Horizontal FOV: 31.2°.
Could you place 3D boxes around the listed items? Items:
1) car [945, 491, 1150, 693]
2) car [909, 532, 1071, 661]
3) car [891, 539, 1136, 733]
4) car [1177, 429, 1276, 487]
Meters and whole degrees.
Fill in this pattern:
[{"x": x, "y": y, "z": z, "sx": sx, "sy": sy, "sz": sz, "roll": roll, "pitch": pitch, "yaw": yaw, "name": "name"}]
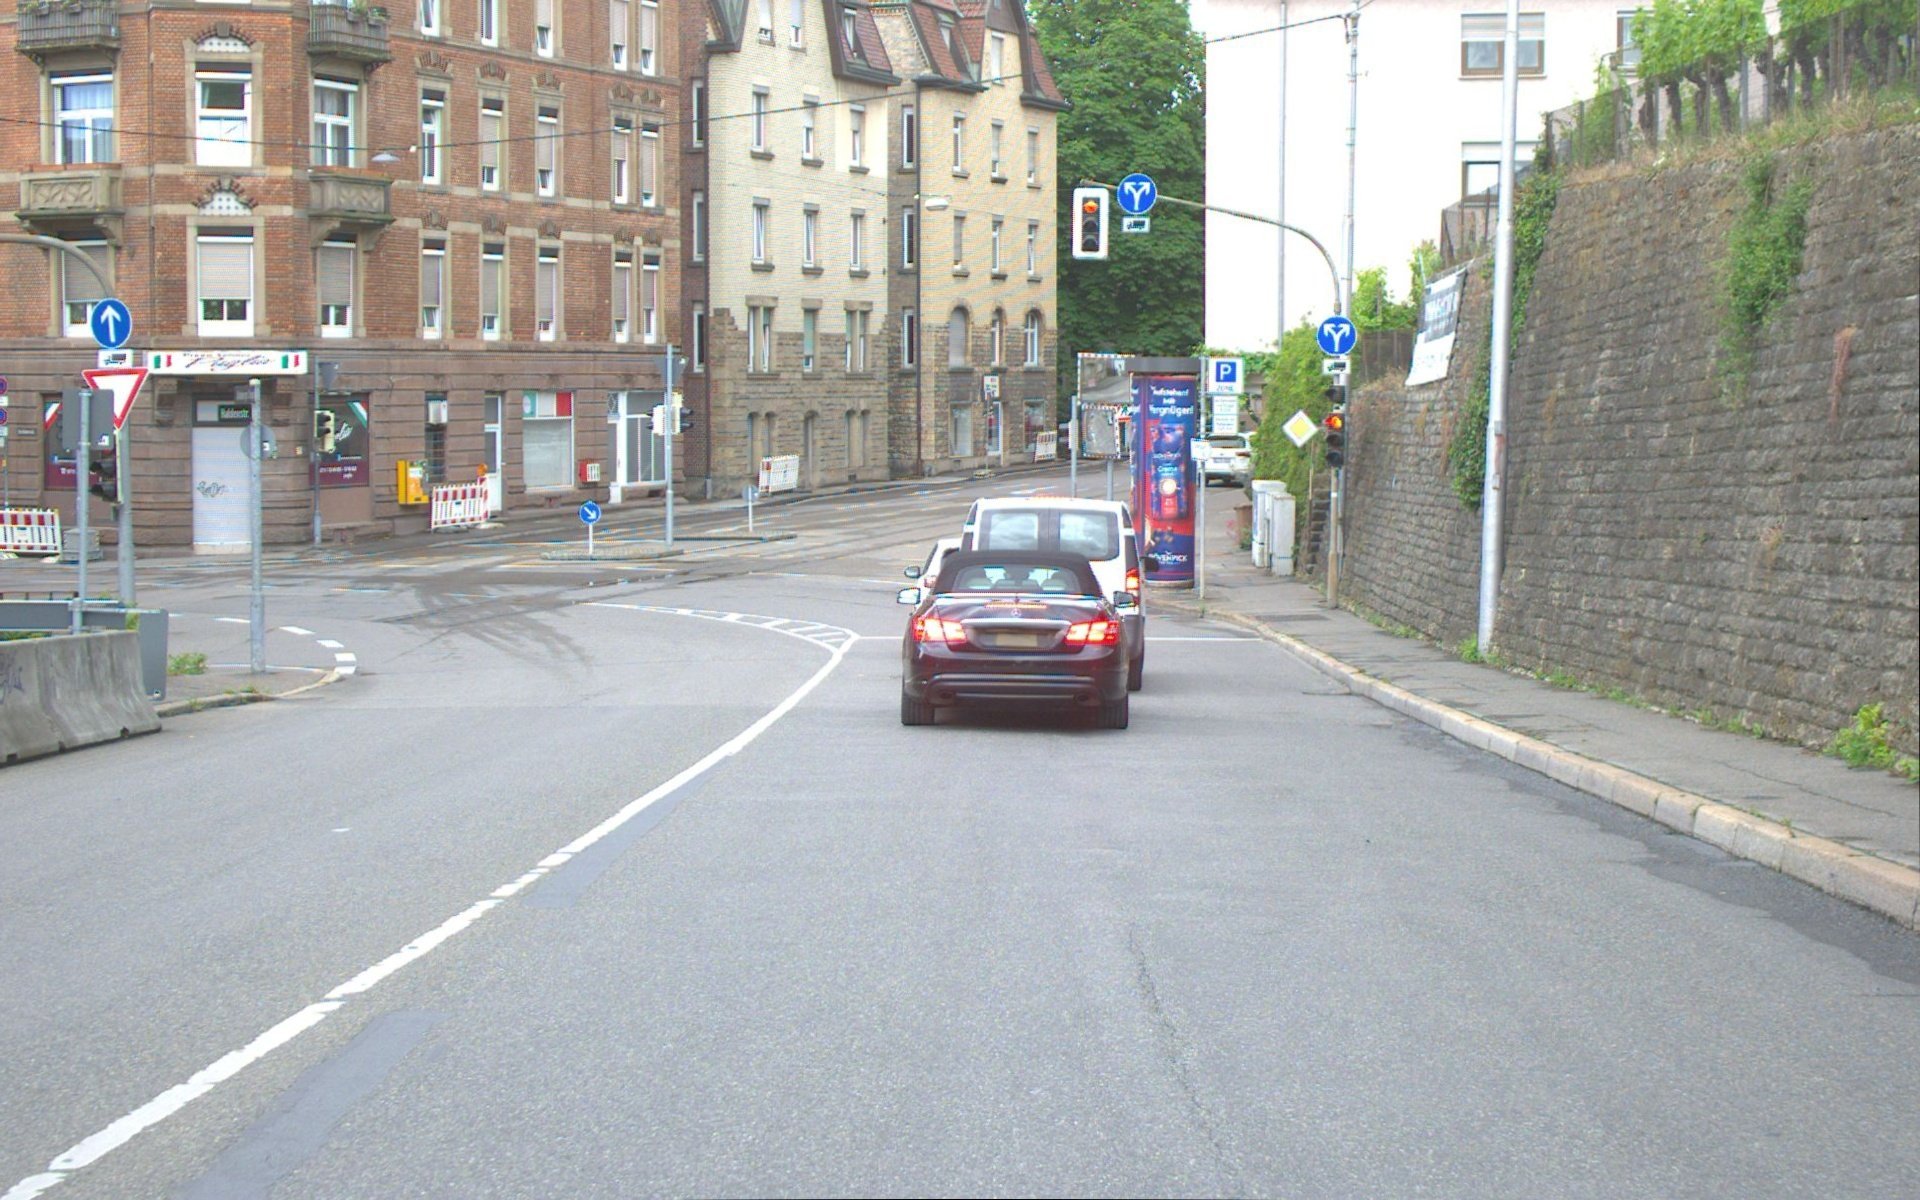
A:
[{"x": 0.841, "y": -0.124, "z": 34.807, "sx": 1.909, "sy": 1.877, "sz": 4.000, "roll": 1, "pitch": 1, "yaw": 0, "name": "car"}, {"x": 0.355, "y": -0.076, "z": 41.769, "sx": 1.841, "sy": 1.436, "sz": 4.000, "roll": 1, "pitch": 1, "yaw": 0, "name": "car"}, {"x": 0.417, "y": 0.238, "z": 28.035, "sx": 1.816, "sy": 1.425, "sz": 4.000, "roll": 1, "pitch": 1, "yaw": 0, "name": "car"}, {"x": 8.132, "y": -4.333, "z": 104.599, "sx": 1.843, "sy": 1.696, "sz": 3.996, "roll": 2, "pitch": 3, "yaw": 22, "name": "car"}]
